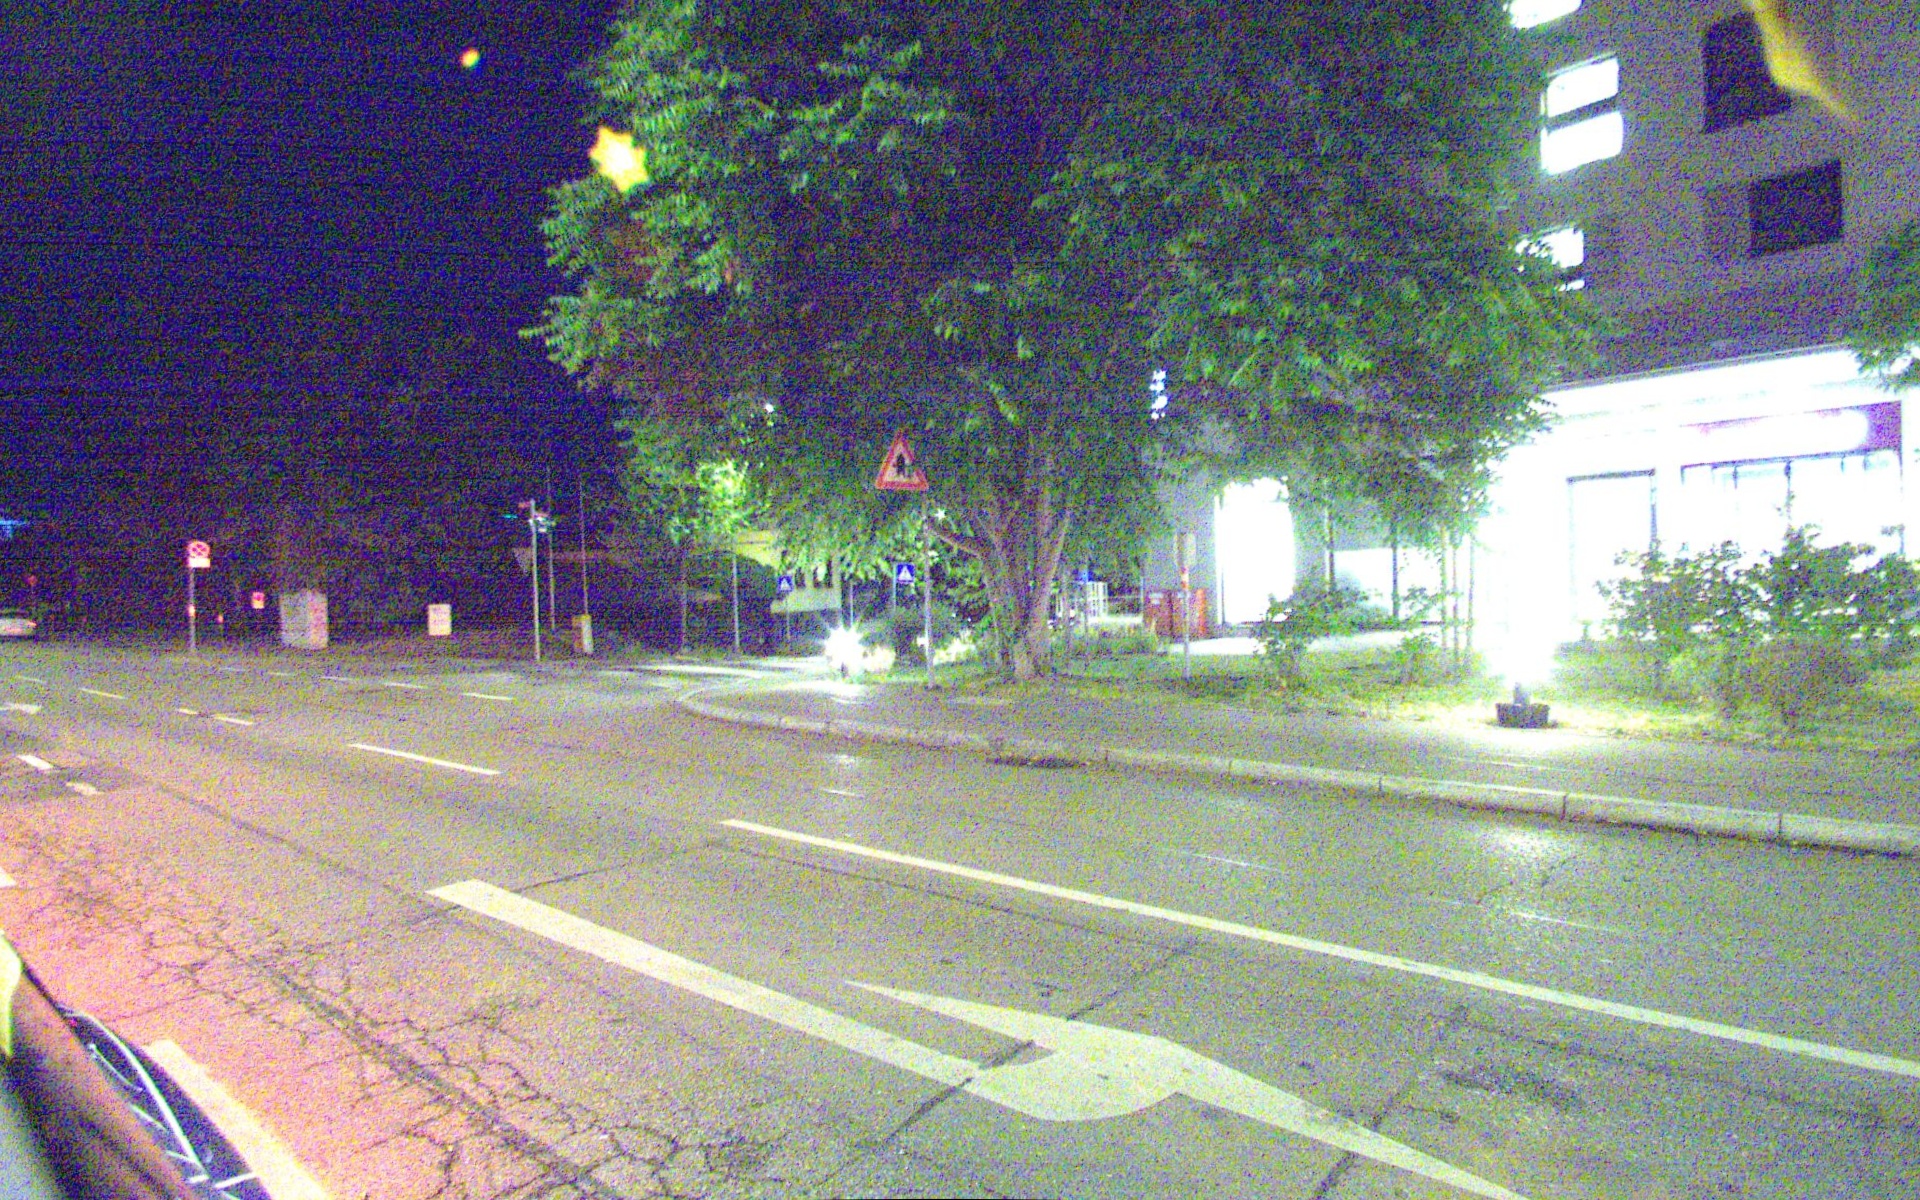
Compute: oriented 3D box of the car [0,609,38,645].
[{"bbox_3d":[-43.271,1.195,45.786,3.998,1.464,1.887,1,2,41],"label":"car"}]
